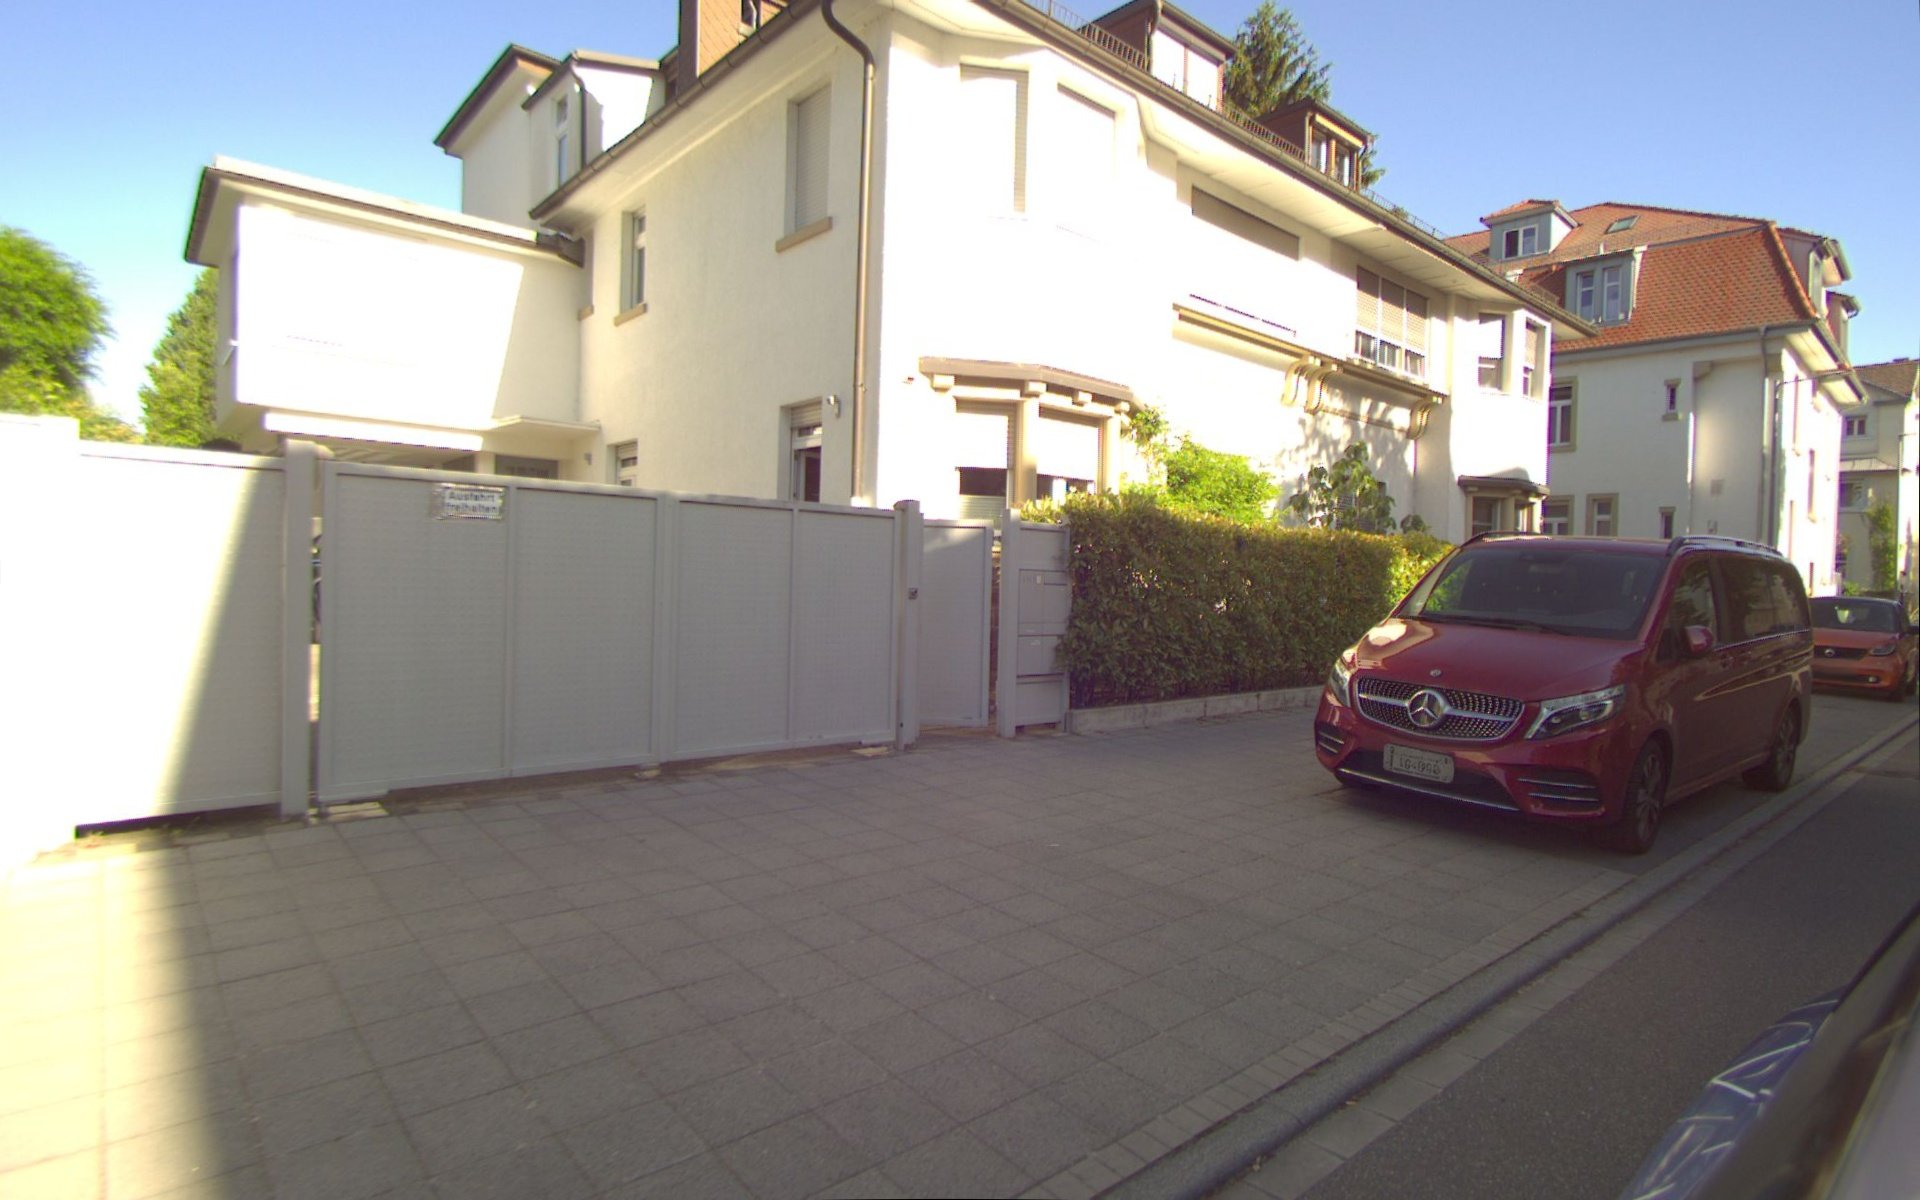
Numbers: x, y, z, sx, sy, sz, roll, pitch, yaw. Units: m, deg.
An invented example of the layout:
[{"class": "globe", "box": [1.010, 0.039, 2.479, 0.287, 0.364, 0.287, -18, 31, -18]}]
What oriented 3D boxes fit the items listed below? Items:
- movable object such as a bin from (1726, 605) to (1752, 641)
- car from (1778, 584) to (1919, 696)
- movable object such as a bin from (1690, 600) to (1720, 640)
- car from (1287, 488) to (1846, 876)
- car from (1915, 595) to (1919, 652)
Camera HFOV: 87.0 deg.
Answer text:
[{"class": "movable object such as a bin", "box": [21.179, 0.620, 27.517, 0.642, 0.948, 0.486, -1, 0, -44]}, {"class": "car", "box": [14.357, 0.551, 16.017, 3.191, 1.498, 1.596, 0, 4, -41]}, {"class": "movable object such as a bin", "box": [20.626, 0.555, 28.004, 0.685, 1.076, 0.556, -1, 0, -44]}, {"class": "car", "box": [4.664, 0.330, 7.371, 5.105, 1.928, 1.876, -1, 3, -40]}, {"class": "car", "box": [26.270, 0.661, 26.424, 3.868, 1.457, 1.622, 0, 4, -43]}]
